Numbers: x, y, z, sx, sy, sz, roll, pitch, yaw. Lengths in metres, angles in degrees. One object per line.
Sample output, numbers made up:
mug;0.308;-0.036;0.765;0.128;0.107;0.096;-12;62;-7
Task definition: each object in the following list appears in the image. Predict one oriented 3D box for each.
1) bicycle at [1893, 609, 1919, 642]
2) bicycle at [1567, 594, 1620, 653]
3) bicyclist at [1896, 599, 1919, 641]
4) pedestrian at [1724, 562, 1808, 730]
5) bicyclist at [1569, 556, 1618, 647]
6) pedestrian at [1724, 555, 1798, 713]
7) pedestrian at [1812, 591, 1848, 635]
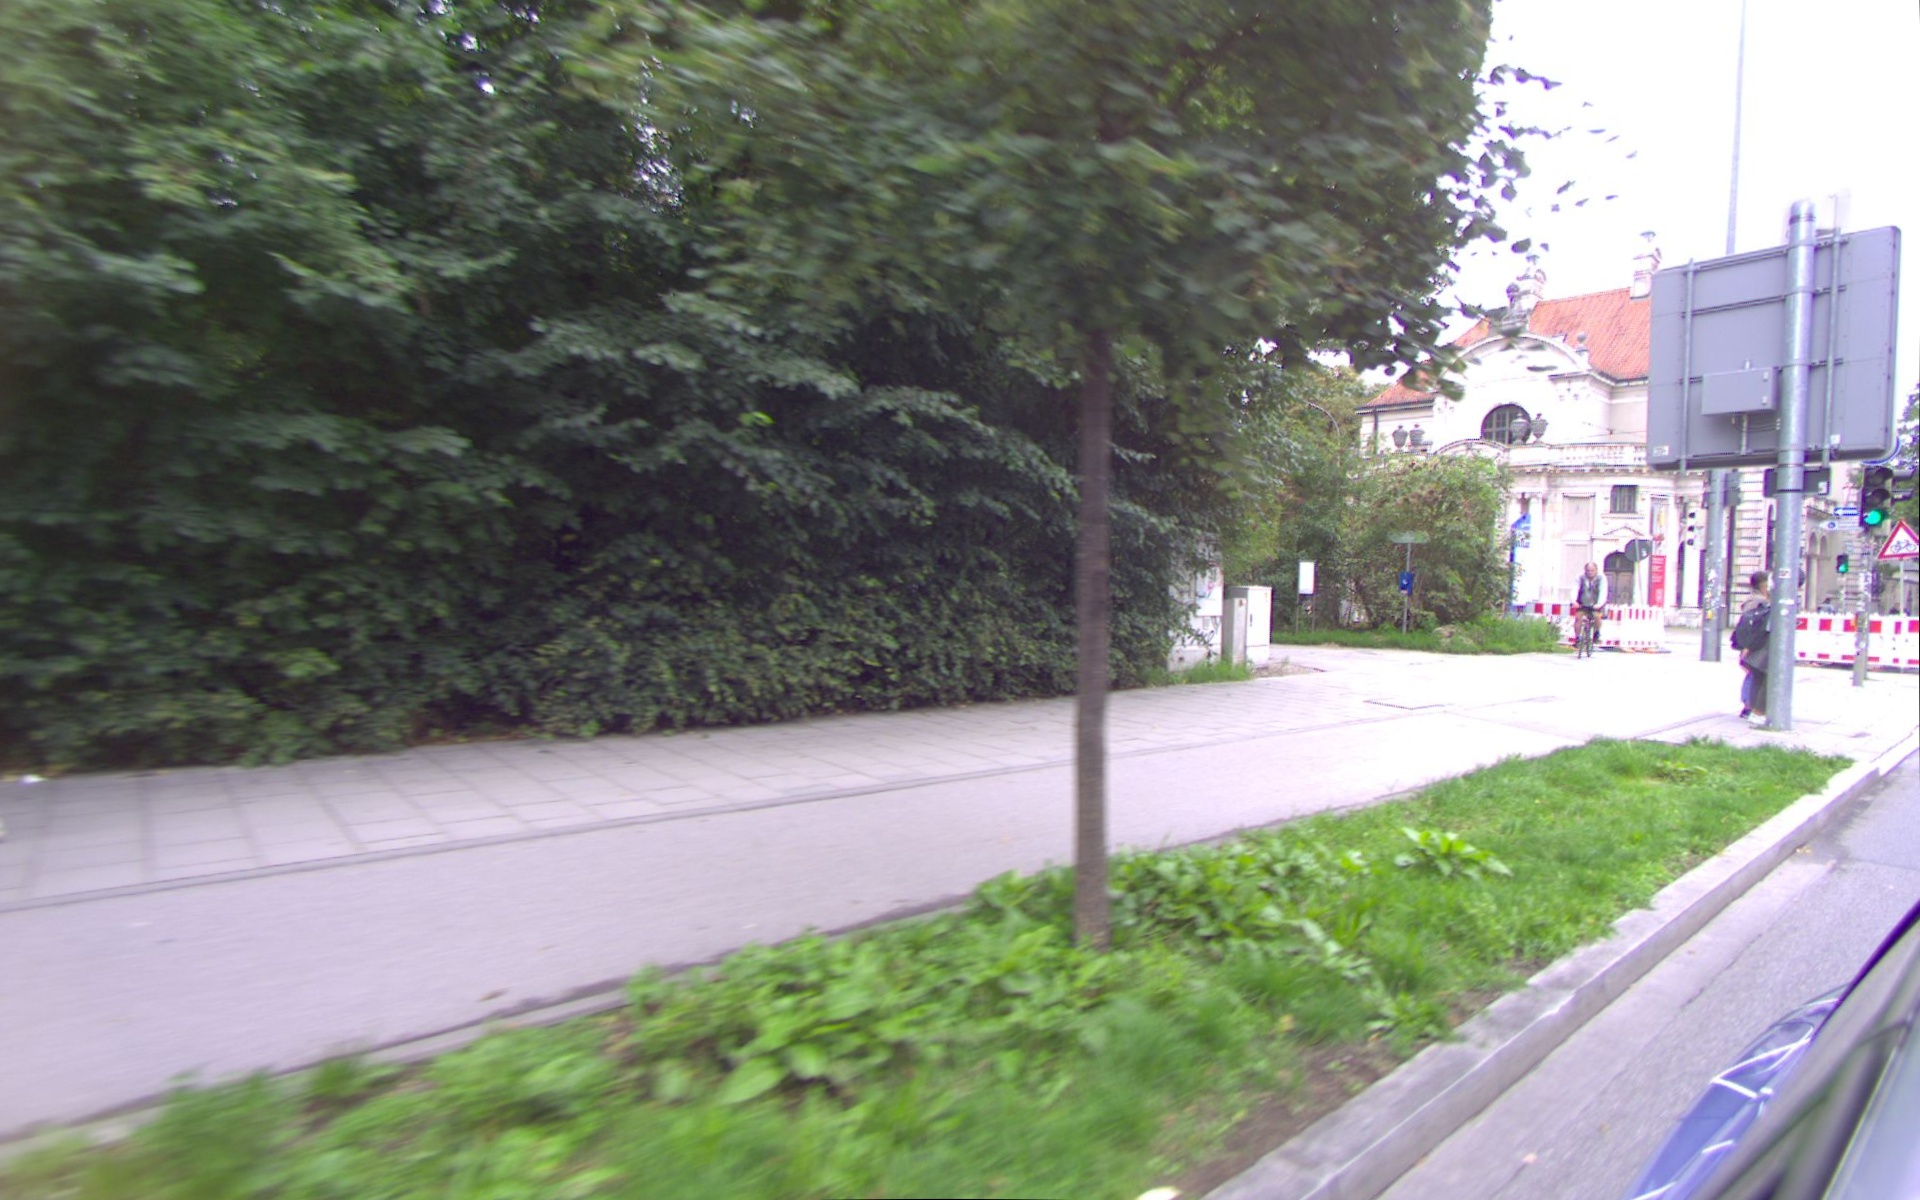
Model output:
bicycle;30.788;0.797;32.634;2.022;1.019;0.829;0;0;-41
bicycle;12.110;0.418;19.310;0.736;1.071;2.135;0;0;36
bicyclist;30.857;0.649;32.691;0.878;1.329;0.807;0;0;-41
pedestrian;8.867;0.478;11.134;0.625;1.783;0.625;0;1;-45
bicyclist;12.102;0.024;19.330;0.754;1.688;0.888;0;0;35
pedestrian;9.386;0.373;11.856;0.608;1.783;0.626;2;1;42
pedestrian;36.152;0.528;42.037;0.761;1.787;1.065;0;0;-43
